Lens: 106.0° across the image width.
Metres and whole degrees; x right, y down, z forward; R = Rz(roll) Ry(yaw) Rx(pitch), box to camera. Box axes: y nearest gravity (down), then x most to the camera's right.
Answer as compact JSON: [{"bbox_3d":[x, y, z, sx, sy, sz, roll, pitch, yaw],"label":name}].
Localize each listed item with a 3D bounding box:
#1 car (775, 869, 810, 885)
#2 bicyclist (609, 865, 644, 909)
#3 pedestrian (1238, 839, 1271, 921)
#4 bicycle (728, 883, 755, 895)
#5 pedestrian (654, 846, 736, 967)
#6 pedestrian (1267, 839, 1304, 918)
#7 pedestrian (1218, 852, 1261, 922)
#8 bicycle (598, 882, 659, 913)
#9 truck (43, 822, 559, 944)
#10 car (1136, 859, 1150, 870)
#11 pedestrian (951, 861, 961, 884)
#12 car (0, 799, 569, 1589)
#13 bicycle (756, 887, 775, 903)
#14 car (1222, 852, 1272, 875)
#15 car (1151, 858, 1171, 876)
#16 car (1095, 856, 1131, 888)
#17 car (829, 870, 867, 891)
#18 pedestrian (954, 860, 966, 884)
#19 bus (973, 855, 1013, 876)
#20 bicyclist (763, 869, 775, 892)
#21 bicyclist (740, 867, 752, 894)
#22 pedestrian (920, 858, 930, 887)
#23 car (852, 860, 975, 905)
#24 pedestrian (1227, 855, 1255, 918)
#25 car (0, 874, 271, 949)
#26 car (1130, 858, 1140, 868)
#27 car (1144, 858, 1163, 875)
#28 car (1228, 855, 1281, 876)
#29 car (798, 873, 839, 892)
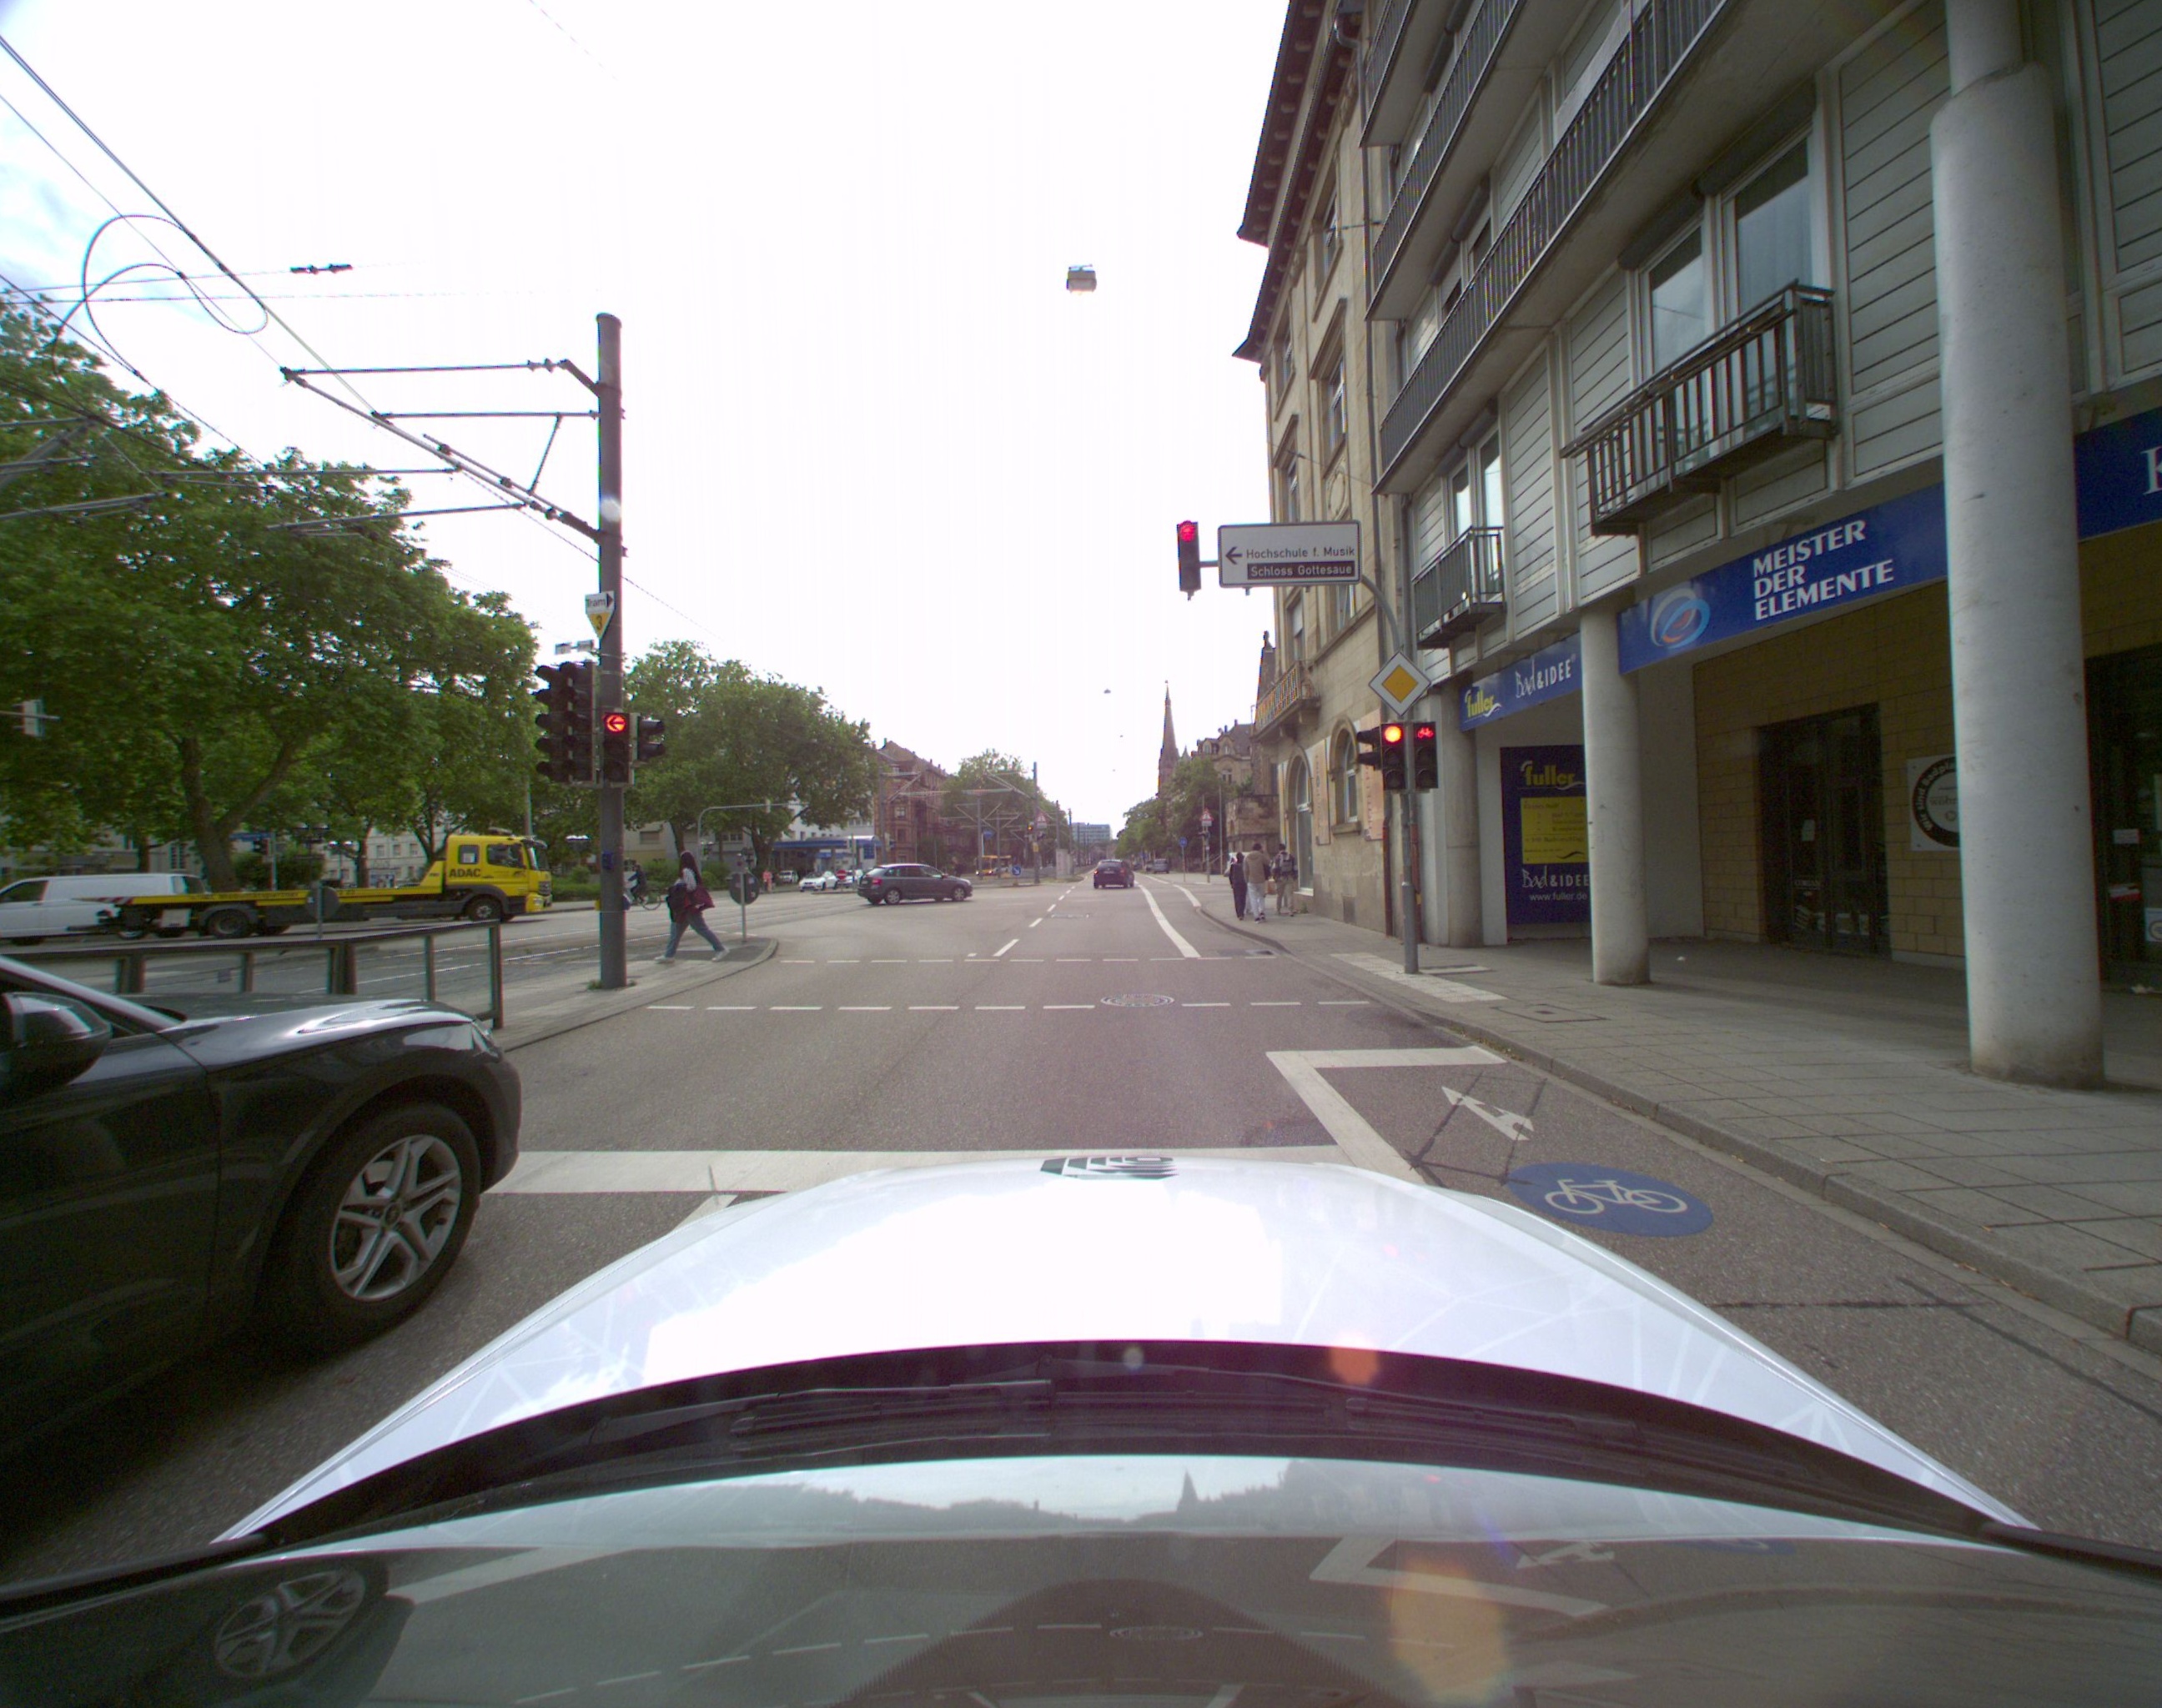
[{"bbox_3d":[-28.741,2.279,81.322,1.986,1.530,4.001,0,-1,2],"label":"car"},{"bbox_3d":[-17.532,1.270,31.432,1.041,1.683,0.641,0,-1,-19],"label":"bicyclist"},{"bbox_3d":[3.953,0.575,18.510,0.578,1.813,1.020,0,-1,21],"label":"pedestrian"},{"bbox_3d":[-22.943,2.373,55.022,1.665,0.773,0.659,-1,-1,22],"label":"bicycle"},{"bbox_3d":[-5.614,0.734,11.851,0.663,1.680,0.874,-1,-1,40],"label":"pedestrian"},{"bbox_3d":[4.807,0.565,19.216,0.622,1.778,1.137,-4,-2,9],"label":"pedestrian"},{"bbox_3d":[3.889,0.784,19.943,0.620,1.653,1.003,-1,-1,39],"label":"pedestrian"},{"bbox_3d":[-17.443,1.668,31.458,1.943,1.136,0.731,0,-1,-19],"label":"bicycle"},{"bbox_3d":[-20.981,0.669,23.026,10.196,2.941,2.615,0,-1,-25],"label":"truck"},{"bbox_3d":[9.724,1.675,128.439,1.986,1.607,4.165,-3,-1,1],"label":"car"},{"bbox_3d":[-8.078,1.191,52.595,0.544,1.537,0.465,0,-1,-3],"label":"pedestrian"},{"bbox_3d":[-3.144,0.698,1.257,1.873,1.601,4.358,-1,-1,1],"label":"car"},{"bbox_3d":[-21.502,2.756,55.535,0.520,1.017,1.937,0,-1,2],"label":"bicycle"},{"bbox_3d":[13.866,0.781,68.140,3.785,1.904,2.001,0,-1,1],"label":"car"},{"bbox_3d":[8.814,1.432,90.033,1.986,2.014,4.001,0,-1,1],"label":"car"},{"bbox_3d":[1.650,0.913,42.544,1.799,1.586,4.342,0,-1,2],"label":"car"},{"bbox_3d":[-18.813,2.128,65.906,1.887,1.557,3.837,0,-1,2],"label":"car"},{"bbox_3d":[-7.735,1.173,52.056,0.651,1.537,0.465,0,-1,-3],"label":"pedestrian"},{"bbox_3d":[-13.783,1.815,129.046,3.066,3.112,13.126,0,-1,9],"label":"bus"},{"bbox_3d":[-21.462,1.820,55.977,0.585,1.568,0.619,0,-1,1],"label":"bicyclist"},{"bbox_3d":[-22.710,1.798,55.184,0.528,1.784,0.472,-1,-1,21],"label":"bicyclist"},{"bbox_3d":[-9.521,1.135,49.732,0.571,1.794,0.518,0,-1,-3],"label":"pedestrian"},{"bbox_3d":[-6.097,1.008,29.806,4.011,1.469,1.820,-1,0,-37],"label":"car"},{"bbox_3d":[4.148,0.826,21.169,0.696,1.593,0.833,0,-1,10],"label":"pedestrian"},{"bbox_3d":[-27.783,1.617,24.167,4.886,1.967,1.973,0,-1,-24],"label":"car"},{"bbox_3d":[11.501,1.900,172.328,1.986,2.014,4.001,0,-1,2],"label":"car"},{"bbox_3d":[8.832,1.549,99.627,1.986,2.014,4.001,0,-1,1],"label":"car"},{"bbox_3d":[13.755,0.898,64.728,3.785,1.601,2.001,0,-1,1],"label":"car"},{"bbox_3d":[-19.144,2.051,59.528,1.628,1.325,4.001,0,-1,2],"label":"car"}]
